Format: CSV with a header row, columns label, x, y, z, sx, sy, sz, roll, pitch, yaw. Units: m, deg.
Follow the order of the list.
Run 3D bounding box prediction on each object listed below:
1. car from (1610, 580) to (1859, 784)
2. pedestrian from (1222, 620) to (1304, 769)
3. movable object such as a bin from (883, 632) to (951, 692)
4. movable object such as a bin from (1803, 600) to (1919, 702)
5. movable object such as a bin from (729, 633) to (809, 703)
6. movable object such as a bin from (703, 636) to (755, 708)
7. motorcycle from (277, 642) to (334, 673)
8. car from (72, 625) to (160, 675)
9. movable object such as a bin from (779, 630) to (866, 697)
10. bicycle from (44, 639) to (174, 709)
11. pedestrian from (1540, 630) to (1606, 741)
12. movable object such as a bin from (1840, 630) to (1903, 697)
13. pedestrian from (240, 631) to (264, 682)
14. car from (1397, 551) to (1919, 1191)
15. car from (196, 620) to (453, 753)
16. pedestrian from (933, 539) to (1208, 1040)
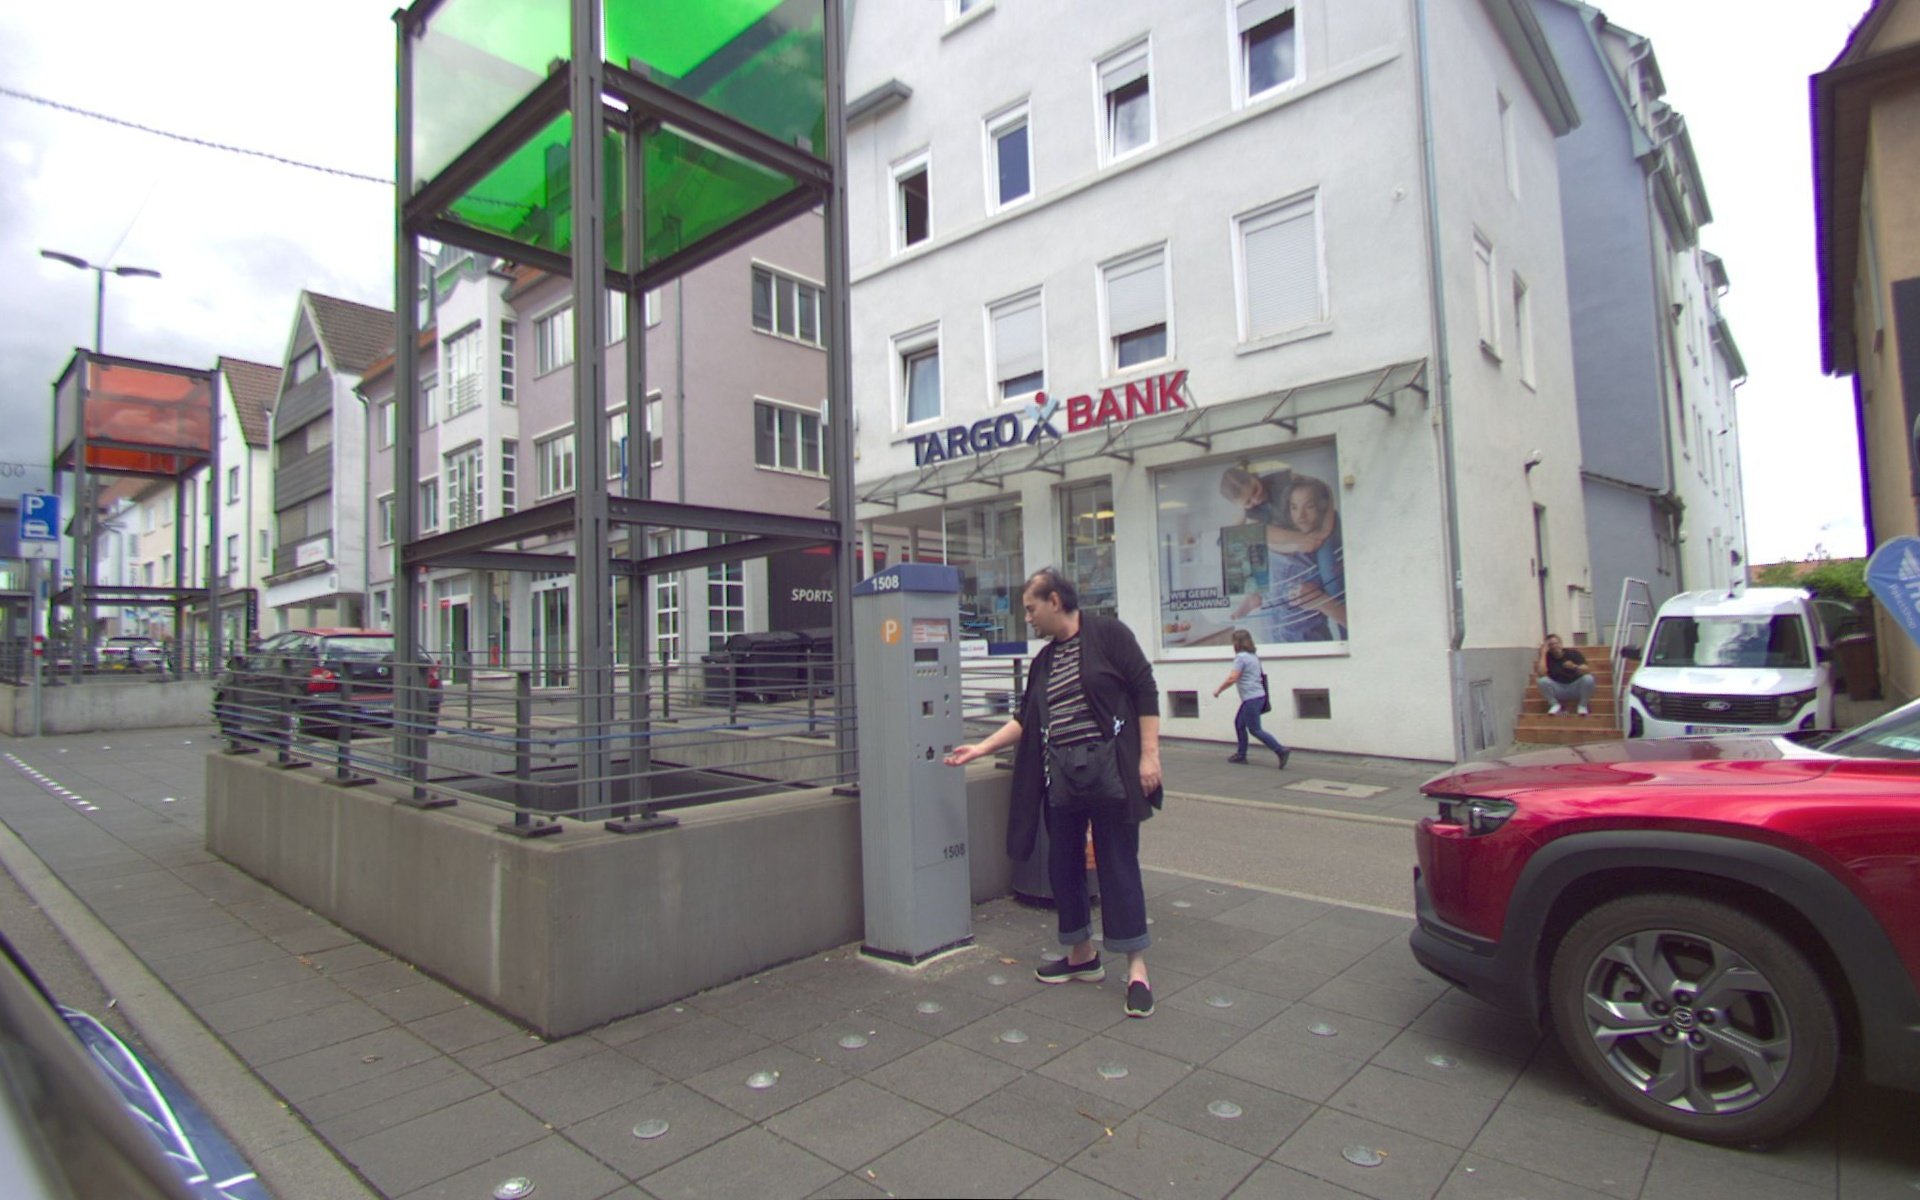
label,x,y,z,sx,sy,sz,roll,pitch,yaw
car,8.955,0.759,11.565,1.883,1.887,4.027,-2,0,42
pedestrian,3.376,1.029,11.270,0.716,1.585,0.559,-2,-4,41
movable object such as a bin,-1.013,1.454,24.113,1.043,1.387,1.270,-2,-2,40
movable object such as a bin,14.276,0.774,16.016,1.265,1.490,2.282,-2,-2,37
movable object such as a bin,-3.976,1.393,21.100,1.067,1.387,1.270,-2,-2,40
movable object such as a bin,-4.639,1.427,20.316,0.807,1.387,0.682,-2,-2,41
motorcycle,-26.415,2.301,40.871,0.633,1.149,1.830,-1,0,40
car,-28.986,1.667,34.704,4.120,1.583,1.662,-1,-1,41
movable object such as a bin,-2.972,1.351,21.940,1.406,1.387,1.270,-2,-2,41
bicycle,-15.705,1.342,18.720,0.459,1.232,1.760,-1,-3,40
pedestrian,7.706,1.052,12.724,0.606,1.329,0.619,-1,-1,40
movable object such as a bin,12.974,0.890,14.416,0.570,0.911,0.790,-2,-2,37
pedestrian,-24.758,1.958,35.393,0.513,1.729,0.584,-1,-1,41
car,3.561,0.674,2.586,4.189,1.555,1.721,-1,-3,40
car,-8.319,1.027,13.140,3.850,1.486,1.554,-1,-3,38
pedestrian,0.410,0.650,3.927,0.901,1.685,0.527,-3,-2,44
